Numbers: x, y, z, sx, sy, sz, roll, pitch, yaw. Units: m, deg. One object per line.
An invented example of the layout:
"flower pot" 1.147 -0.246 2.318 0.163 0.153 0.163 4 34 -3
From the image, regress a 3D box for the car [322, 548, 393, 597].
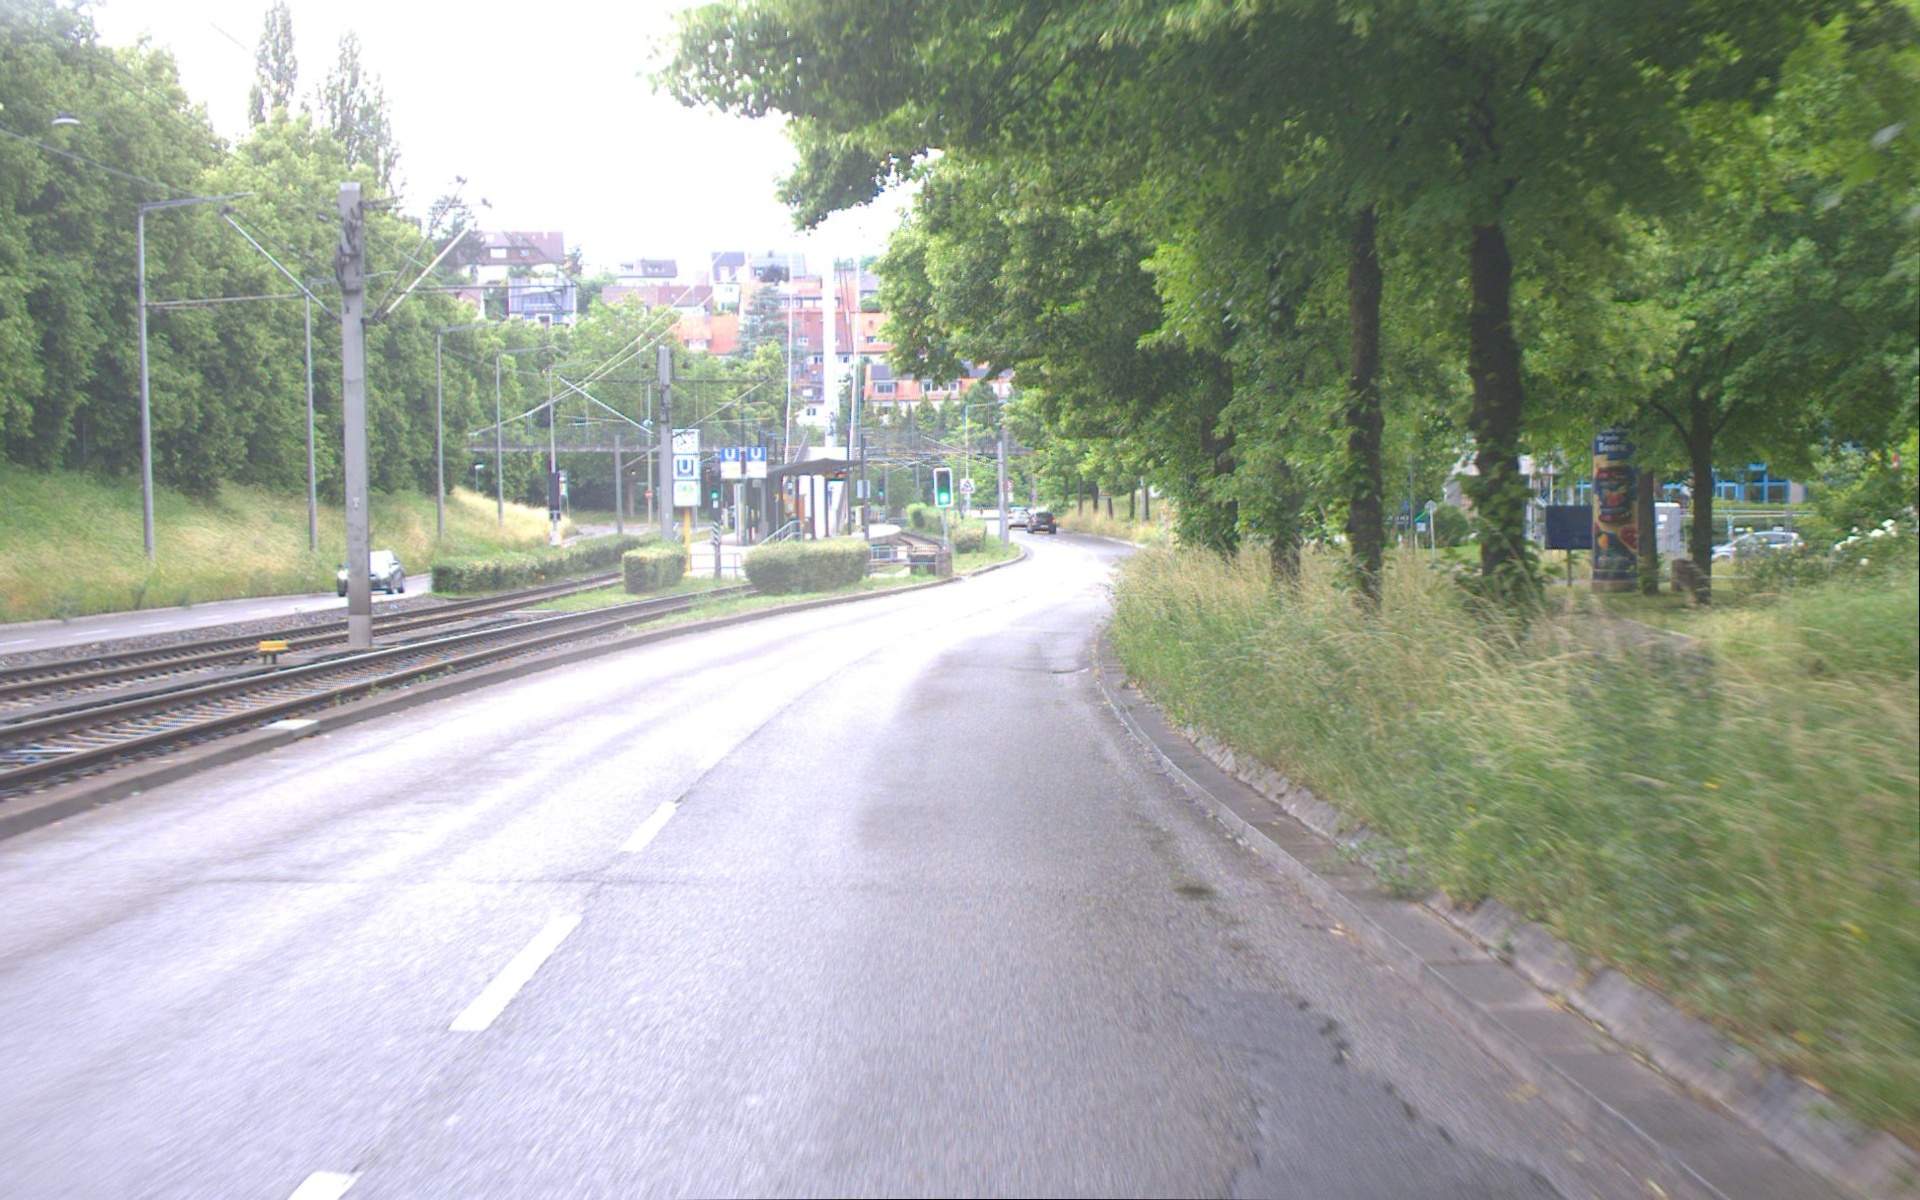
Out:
"car" -19.922 -0.926 113.839 1.784 1.546 3.962 -2 1 -3
